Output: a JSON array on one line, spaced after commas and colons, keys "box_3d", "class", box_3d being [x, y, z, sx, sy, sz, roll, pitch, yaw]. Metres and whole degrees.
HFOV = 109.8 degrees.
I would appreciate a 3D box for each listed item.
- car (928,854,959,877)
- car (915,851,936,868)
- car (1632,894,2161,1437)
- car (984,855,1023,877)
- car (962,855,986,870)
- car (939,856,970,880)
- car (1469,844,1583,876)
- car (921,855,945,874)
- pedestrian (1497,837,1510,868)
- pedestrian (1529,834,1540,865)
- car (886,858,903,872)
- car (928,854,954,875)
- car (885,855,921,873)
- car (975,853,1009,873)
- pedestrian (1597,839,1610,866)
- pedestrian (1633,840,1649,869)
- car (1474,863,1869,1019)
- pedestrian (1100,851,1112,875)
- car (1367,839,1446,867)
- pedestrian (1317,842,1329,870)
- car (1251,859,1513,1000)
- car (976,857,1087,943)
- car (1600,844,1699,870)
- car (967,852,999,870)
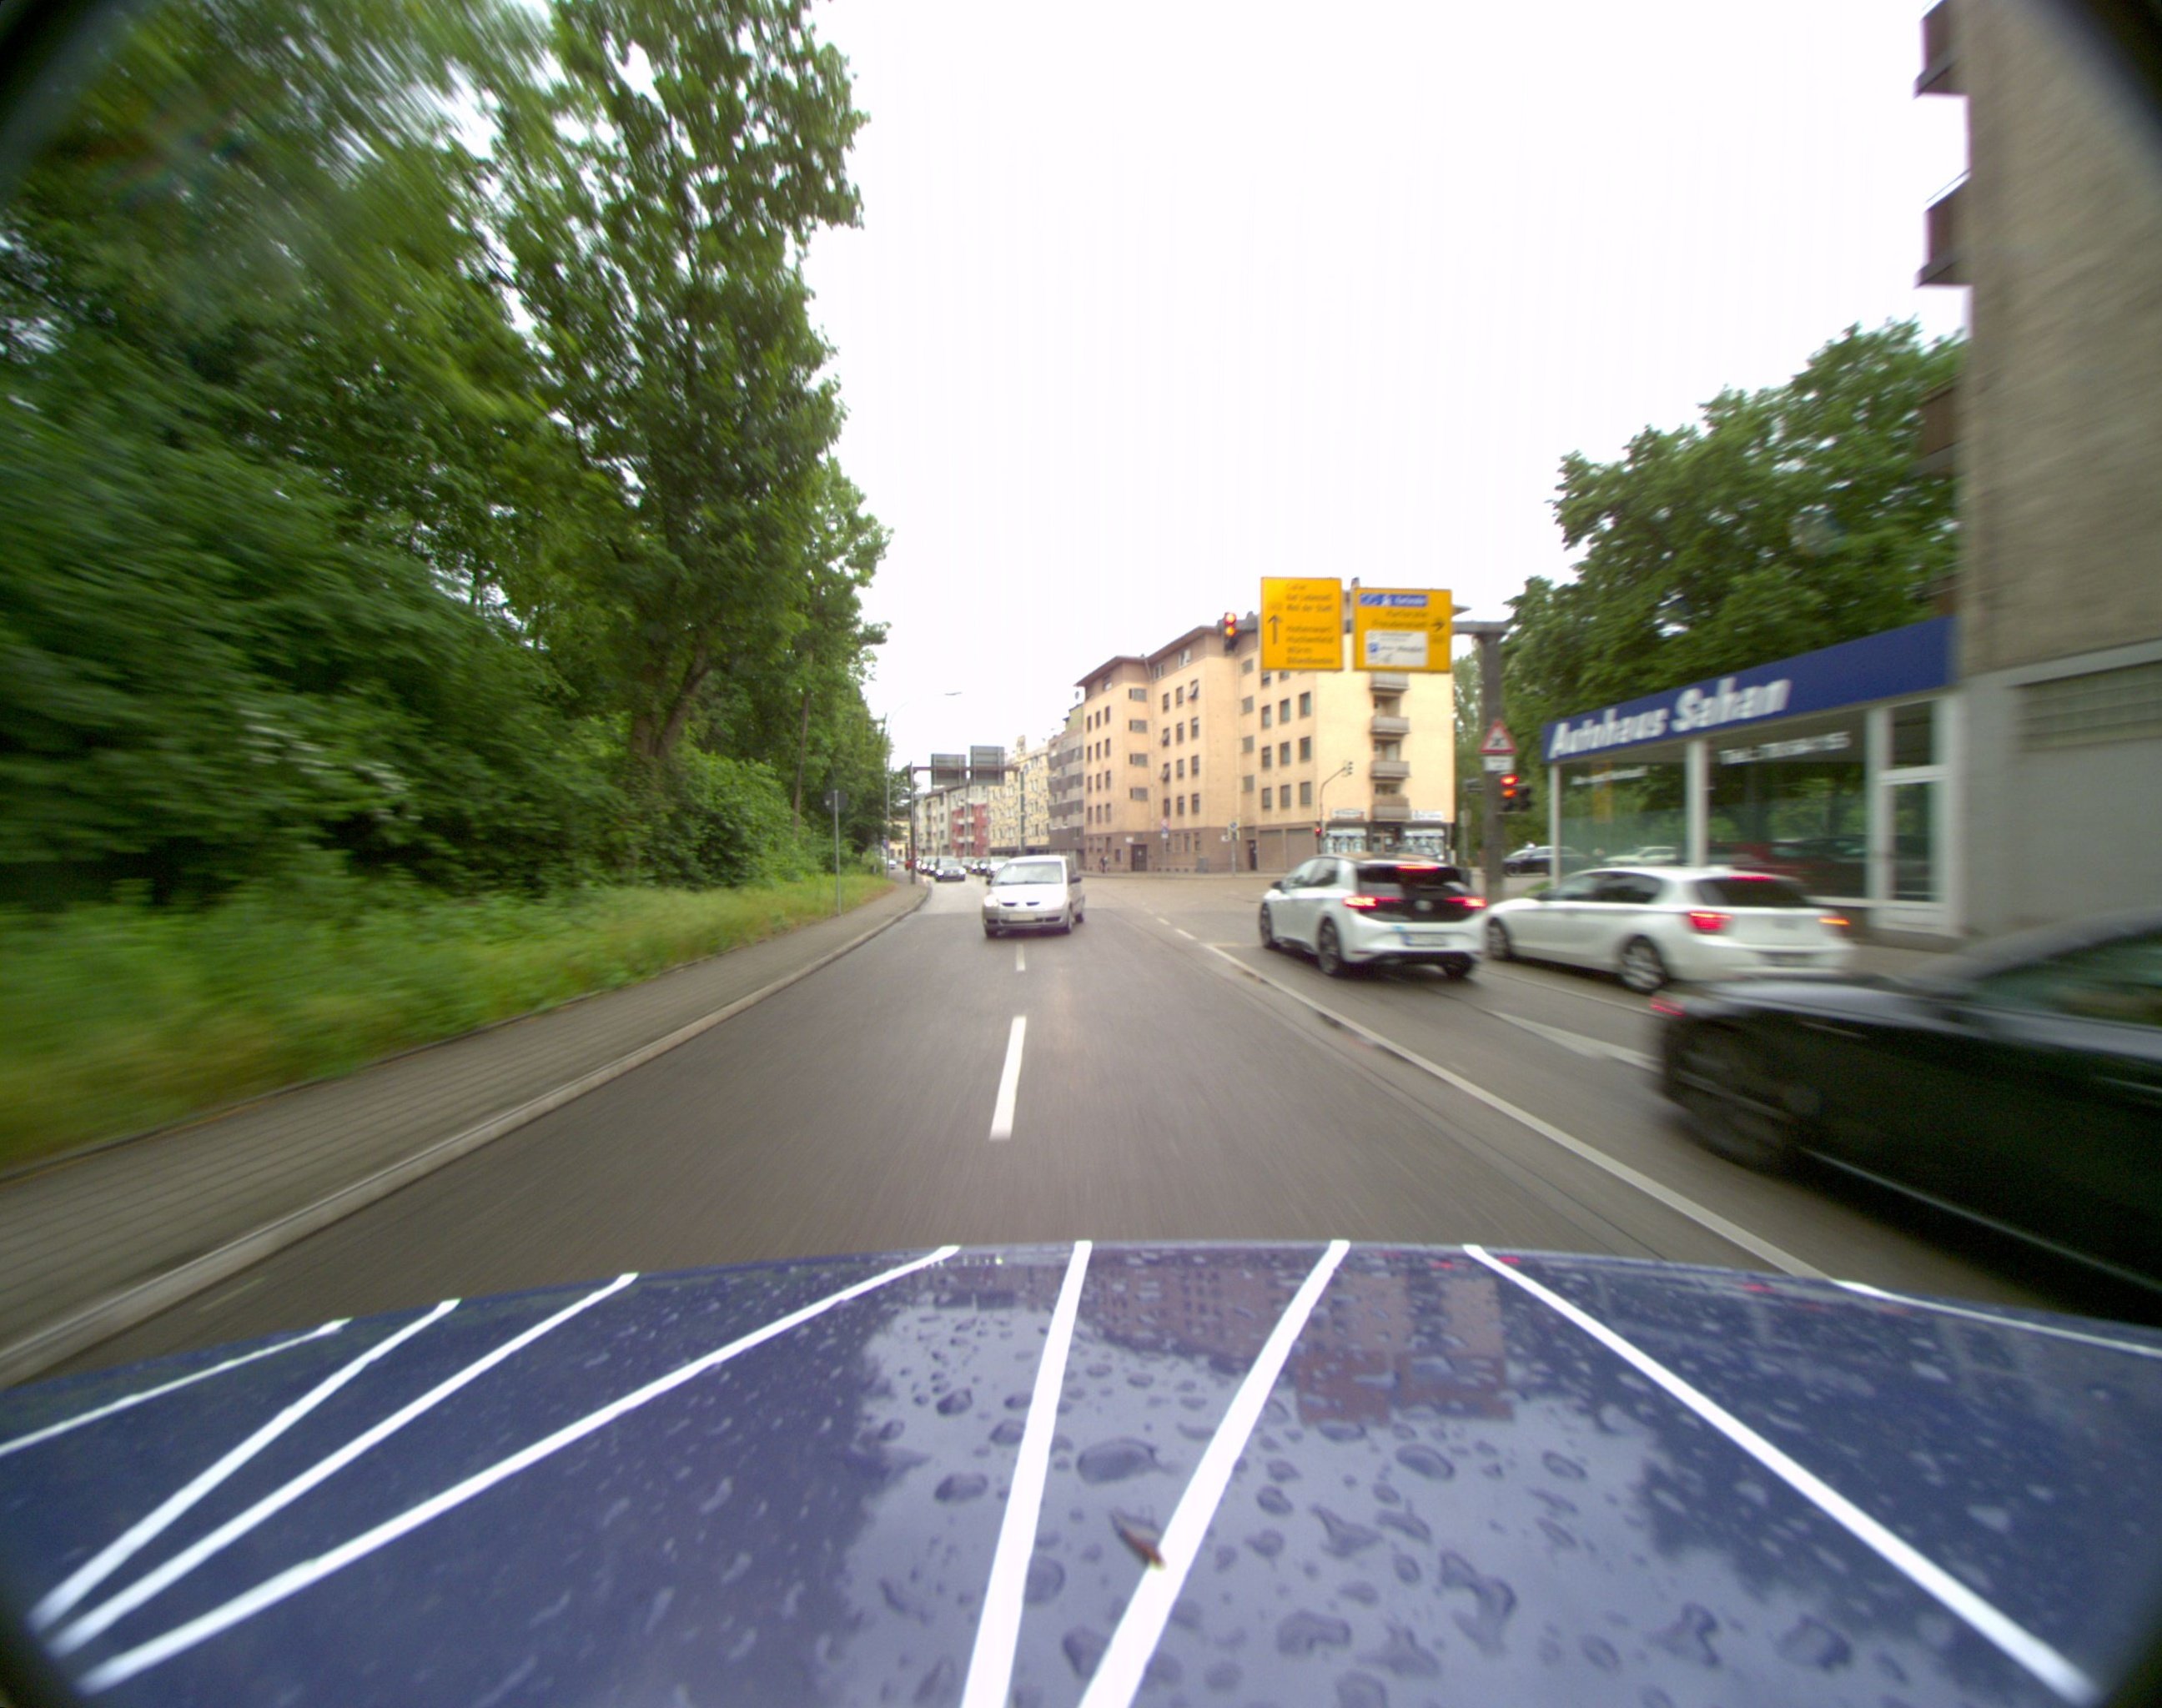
[{"box_3d": [-10.153, 0.803, 55.788, 2.001, 1.607, 4.614, -1, 0, -13], "class": "car"}, {"box_3d": [-15.528, 0.526, 75.731, 1.683, 1.646, 3.994, -1, 0, -17], "class": "car"}, {"box_3d": [3.924, 0.935, 1.860, 1.795, 1.399, 4.625, 0, 0, 0], "class": "car"}, {"box_3d": [-5.561, 0.805, 53.952, 1.880, 1.469, 4.547, -1, 0, -17], "class": "car"}, {"box_3d": [-10.100, 0.800, 71.490, 1.713, 1.386, 3.994, -1, 0, -15], "class": "car"}, {"box_3d": [-8.245, 0.855, 49.301, 1.821, 1.400, 4.227, -1, 0, -12], "class": "car"}, {"box_3d": [21.989, 0.285, 37.639, 4.503, 1.454, 2.000, -1, 1, -1], "class": "car"}, {"box_3d": [-13.454, 0.911, 68.926, 1.683, 1.646, 3.994, -1, 0, -17], "class": "car"}, {"box_3d": [24.664, -0.073, 44.377, 0.558, 1.793, 0.477, 0, 1, 39], "class": "pedestrian"}, {"box_3d": [26.637, -0.284, 44.619, 0.508, 1.793, 0.498, -1, 1, 25], "class": "pedestrian"}, {"box_3d": [-23.596, 1.343, 96.008, 1.912, 1.701, 4.889, -2, 0, -16], "class": "car"}, {"box_3d": [-11.599, 0.874, 62.926, 1.683, 1.646, 3.994, -1, 0, -17], "class": "car"}, {"box_3d": [-20.961, 1.185, 89.500, 2.004, 2.002, 4.475, -2, 1, -45], "class": "car"}, {"box_3d": [-7.128, 0.689, 60.436, 1.921, 1.469, 4.613, -1, 0, -16], "class": "car"}, {"box_3d": [30.271, -0.091, 44.030, 0.442, 1.574, 0.461, -2, 1, -26], "class": "pedestrian"}, {"box_3d": [32.046, 0.004, 43.463, 0.701, 1.637, 0.661, 0, 1, 41], "class": "pedestrian"}, {"box_3d": [6.817, 0.885, 9.433, 1.662, 1.447, 3.999, 1, 0, -3], "class": "car"}, {"box_3d": [2.158, 0.758, 65.453, 0.811, 2.002, 0.857, -1, 0, -18], "class": "pedestrian"}, {"box_3d": [19.809, -0.103, 46.396, 1.762, 1.638, 4.272, -1, 2, -27], "class": "car"}, {"box_3d": [14.644, 0.122, 46.010, 0.581, 1.629, 0.618, 0, 1, 4], "class": "pedestrian"}, {"box_3d": [3.793, 0.848, 10.469, 1.790, 1.487, 4.215, 1, 0, -2], "class": "car"}, {"box_3d": [-0.895, 0.859, 15.987, 1.752, 1.510, 4.001, -2, 0, 4], "class": "car"}, {"box_3d": [30.262, 0.141, 40.545, 3.996, 1.302, 1.653, -1, 1, 2], "class": "car"}, {"box_3d": [-8.581, 0.563, 66.334, 2.001, 1.469, 4.613, -1, 0, -17], "class": "car"}]
